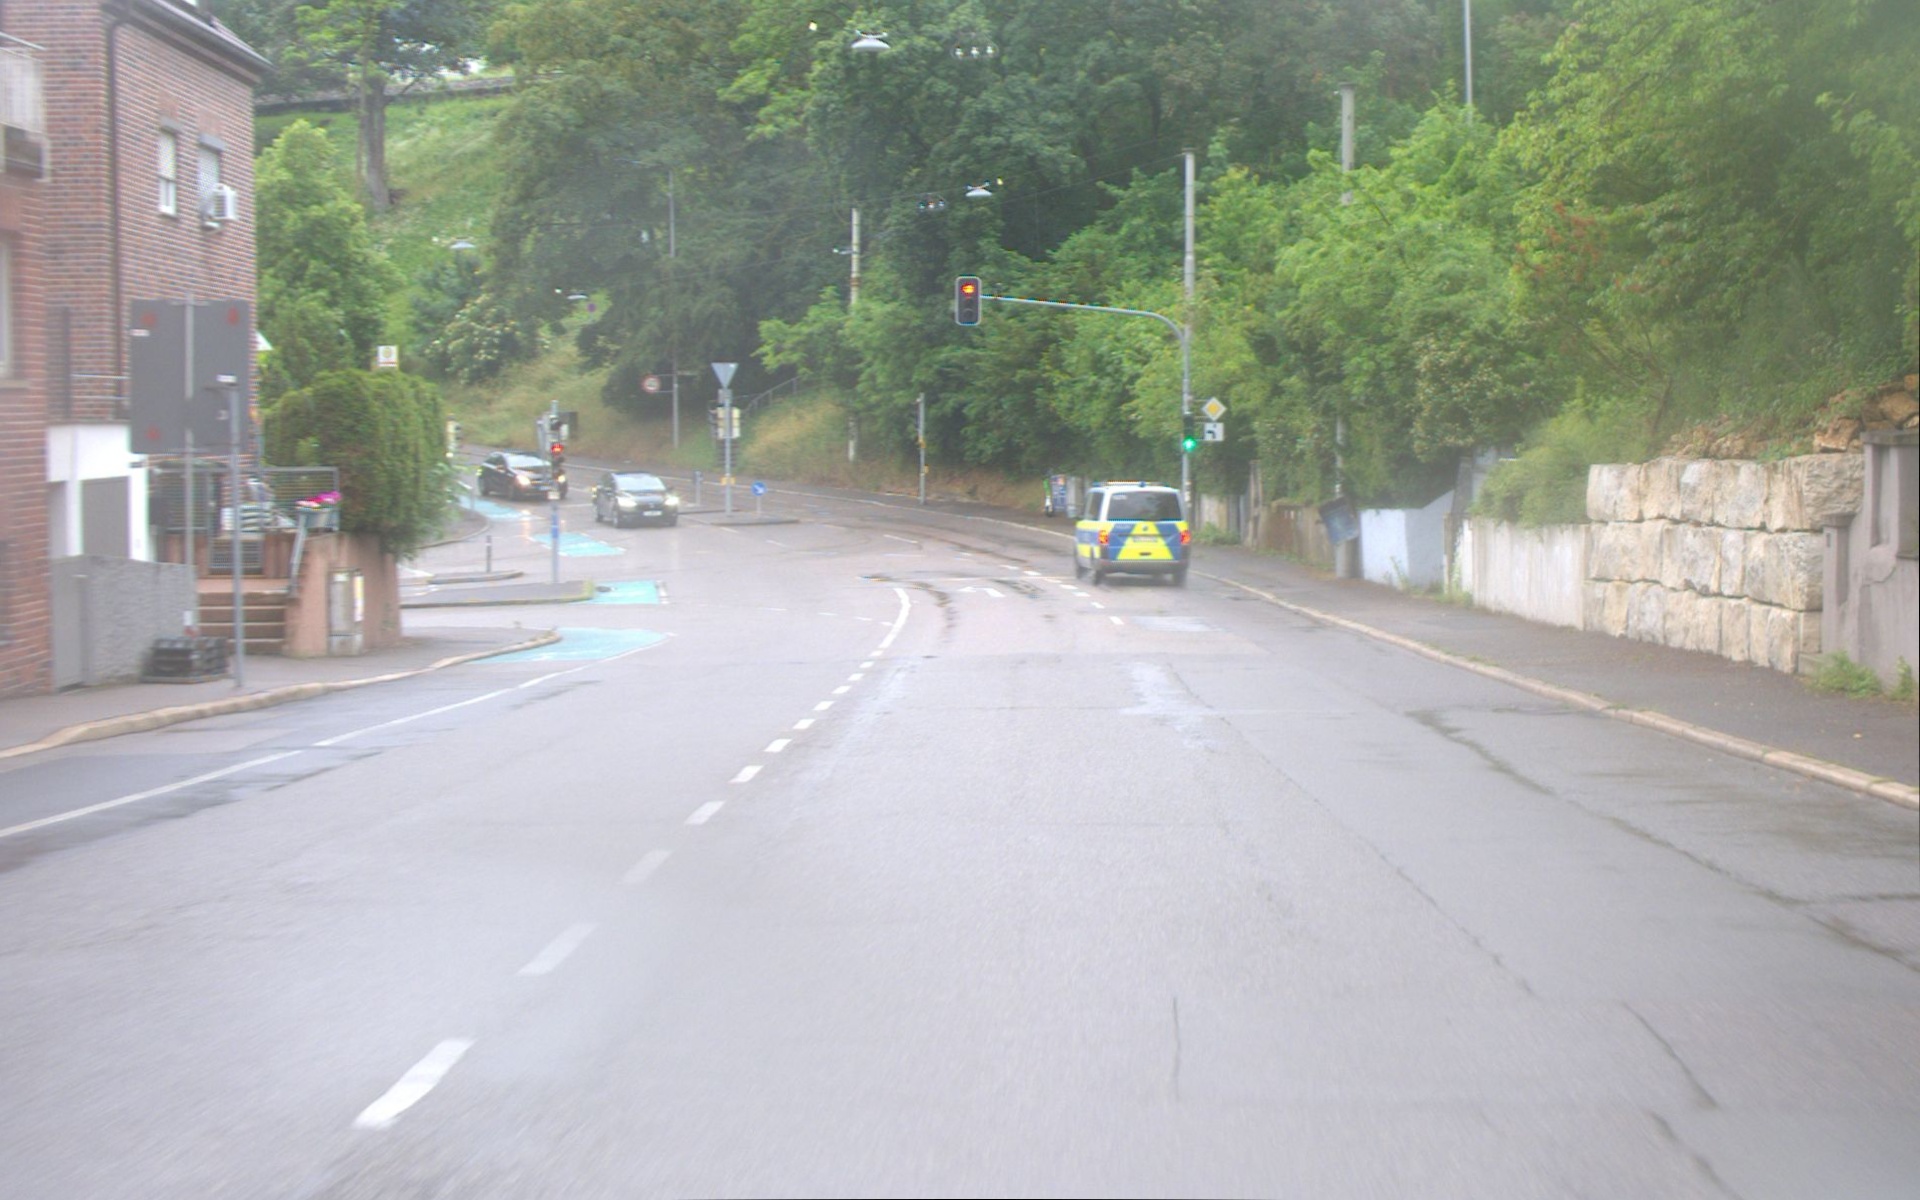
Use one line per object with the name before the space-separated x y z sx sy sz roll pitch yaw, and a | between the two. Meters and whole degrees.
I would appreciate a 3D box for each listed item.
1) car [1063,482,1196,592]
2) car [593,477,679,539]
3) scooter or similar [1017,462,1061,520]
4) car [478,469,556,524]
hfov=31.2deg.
car | 3.354 -1.296 68.869 2.308 1.932 4.326 -2 4 -1
car | -9.193 -2.617 97.333 1.741 1.544 4.002 -4 4 -14
scooter or similar | 2.168 -3.005 94.540 0.616 1.416 2.160 -3 6 -14
car | -13.847 -3.238 107.248 1.741 1.544 4.002 -5 4 -15
